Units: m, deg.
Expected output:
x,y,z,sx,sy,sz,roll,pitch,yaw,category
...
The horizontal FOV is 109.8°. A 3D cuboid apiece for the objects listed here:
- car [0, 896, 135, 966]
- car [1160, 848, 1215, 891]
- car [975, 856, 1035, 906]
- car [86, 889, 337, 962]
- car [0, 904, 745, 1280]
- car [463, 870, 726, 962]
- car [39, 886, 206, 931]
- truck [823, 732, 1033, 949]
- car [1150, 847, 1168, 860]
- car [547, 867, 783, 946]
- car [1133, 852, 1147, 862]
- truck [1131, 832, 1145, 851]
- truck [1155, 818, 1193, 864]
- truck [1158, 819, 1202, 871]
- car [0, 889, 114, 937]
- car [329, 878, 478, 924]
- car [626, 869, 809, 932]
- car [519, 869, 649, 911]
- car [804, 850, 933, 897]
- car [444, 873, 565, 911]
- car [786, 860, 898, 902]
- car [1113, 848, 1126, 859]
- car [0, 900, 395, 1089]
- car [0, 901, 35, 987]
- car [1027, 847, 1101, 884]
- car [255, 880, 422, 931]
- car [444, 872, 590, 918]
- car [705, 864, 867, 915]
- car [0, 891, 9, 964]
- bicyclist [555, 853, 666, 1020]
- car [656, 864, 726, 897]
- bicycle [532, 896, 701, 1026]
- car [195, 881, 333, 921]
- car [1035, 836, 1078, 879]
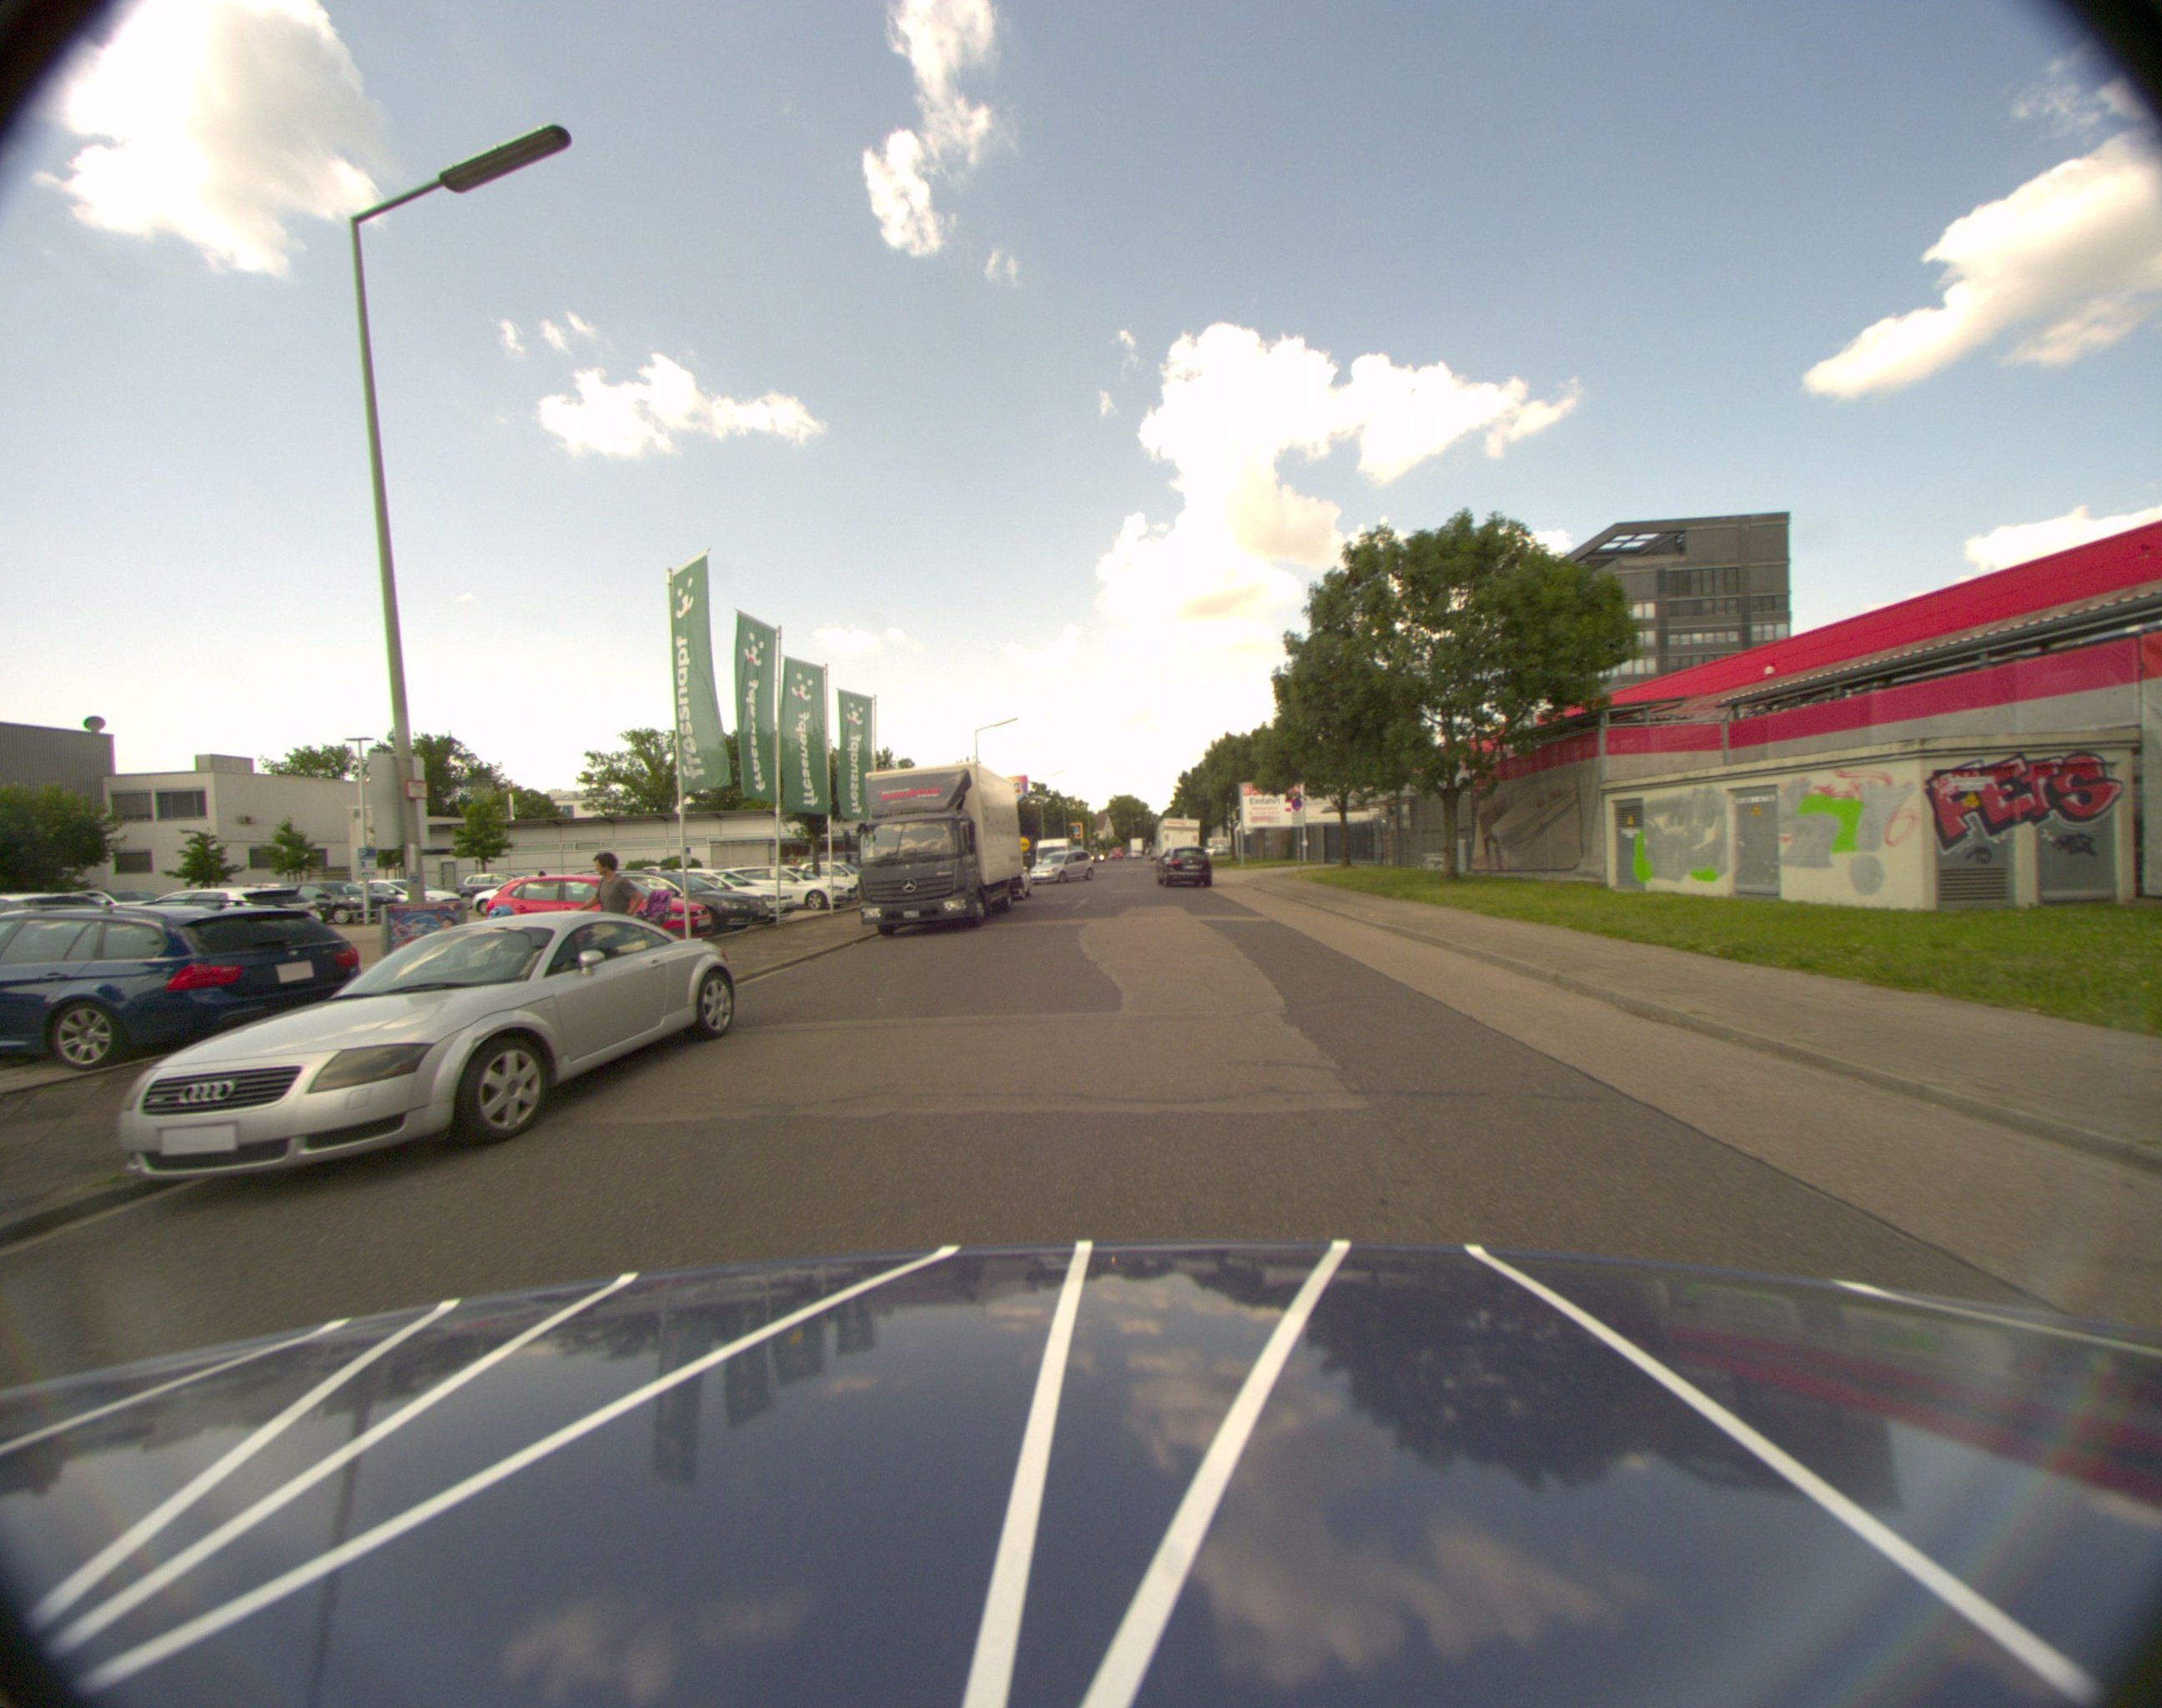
x,y,z,sx,sy,sz,roll,pitch,yaw,category
-25.876,1.850,18.318,3.945,1.475,1.724,-2,1,1,car
4.332,0.584,31.525,1.878,1.611,4.294,2,1,4,car
-2.649,0.901,27.170,1.549,1.502,3.626,-5,0,2,car
-20.470,1.654,18.000,3.945,1.475,1.724,-2,1,1,car
-4.317,1.255,5.534,1.665,1.332,3.985,-6,0,3,car
-9.281,1.153,14.745,3.894,1.514,1.748,-2,1,-2,car
-36.290,2.036,28.838,4.141,1.475,1.724,-2,1,1,car
-3.315,-0.303,19.253,2.784,4.092,8.280,-5,0,4,truck
9.989,-0.103,97.551,1.982,1.565,4.000,-2,1,3,car
-9.289,1.133,17.232,4.297,1.533,1.748,-2,1,-2,car
9.128,0.409,117.196,1.982,1.467,4.000,-2,0,3,car
13.346,-2.830,177.890,2.978,4.132,9.668,-2,1,3,truck
8.041,-1.116,66.515,2.754,3.787,7.172,-1,1,3,truck
7.440,-0.730,58.111,2.754,3.702,7.171,-1,1,3,truck
-36.621,2.032,26.335,4.024,1.475,1.724,-2,1,1,car
-25.001,1.705,28.141,3.945,1.475,1.724,-2,1,1,car
-9.377,1.174,19.831,3.894,1.424,1.748,-2,1,-2,car
-19.499,1.404,29.929,3.945,1.475,1.724,-2,1,1,car
-9.005,0.807,32.468,4.904,1.777,1.903,-2,1,3,car
-25.257,1.646,33.366,3.945,1.475,1.724,-2,1,1,car
-9.324,1.033,29.786,3.819,1.490,1.654,-2,1,5,car
5.740,-0.080,113.855,1.856,1.467,4.000,-2,0,3,car
-9.646,1.284,7.368,4.318,1.435,1.846,-2,1,2,car
-20.827,1.635,12.795,3.991,1.475,1.741,-2,1,1,car
-0.822,0.566,40.073,1.741,1.674,4.599,-3,1,29,car
-25.077,1.720,25.769,3.945,1.475,1.724,-2,1,1,car
-20.403,1.476,27.596,3.945,1.475,1.724,-2,1,1,car
-9.507,1.122,24.711,4.492,1.429,1.859,-2,1,3,car
-25.389,1.651,15.673,4.067,1.569,1.740,-2,1,1,car
-5.632,0.947,9.144,0.796,1.900,0.829,1,2,6,bicyclist
-20.171,1.355,39.352,2.716,1.534,1.647,-2,1,2,car
-5.624,1.238,9.366,0.794,1.288,1.883,1,1,5,bicycle
-35.130,2.010,32.739,4.042,1.475,1.724,-2,1,1,car
-1.474,0.162,47.795,2.057,2.395,5.455,-5,0,3,car
